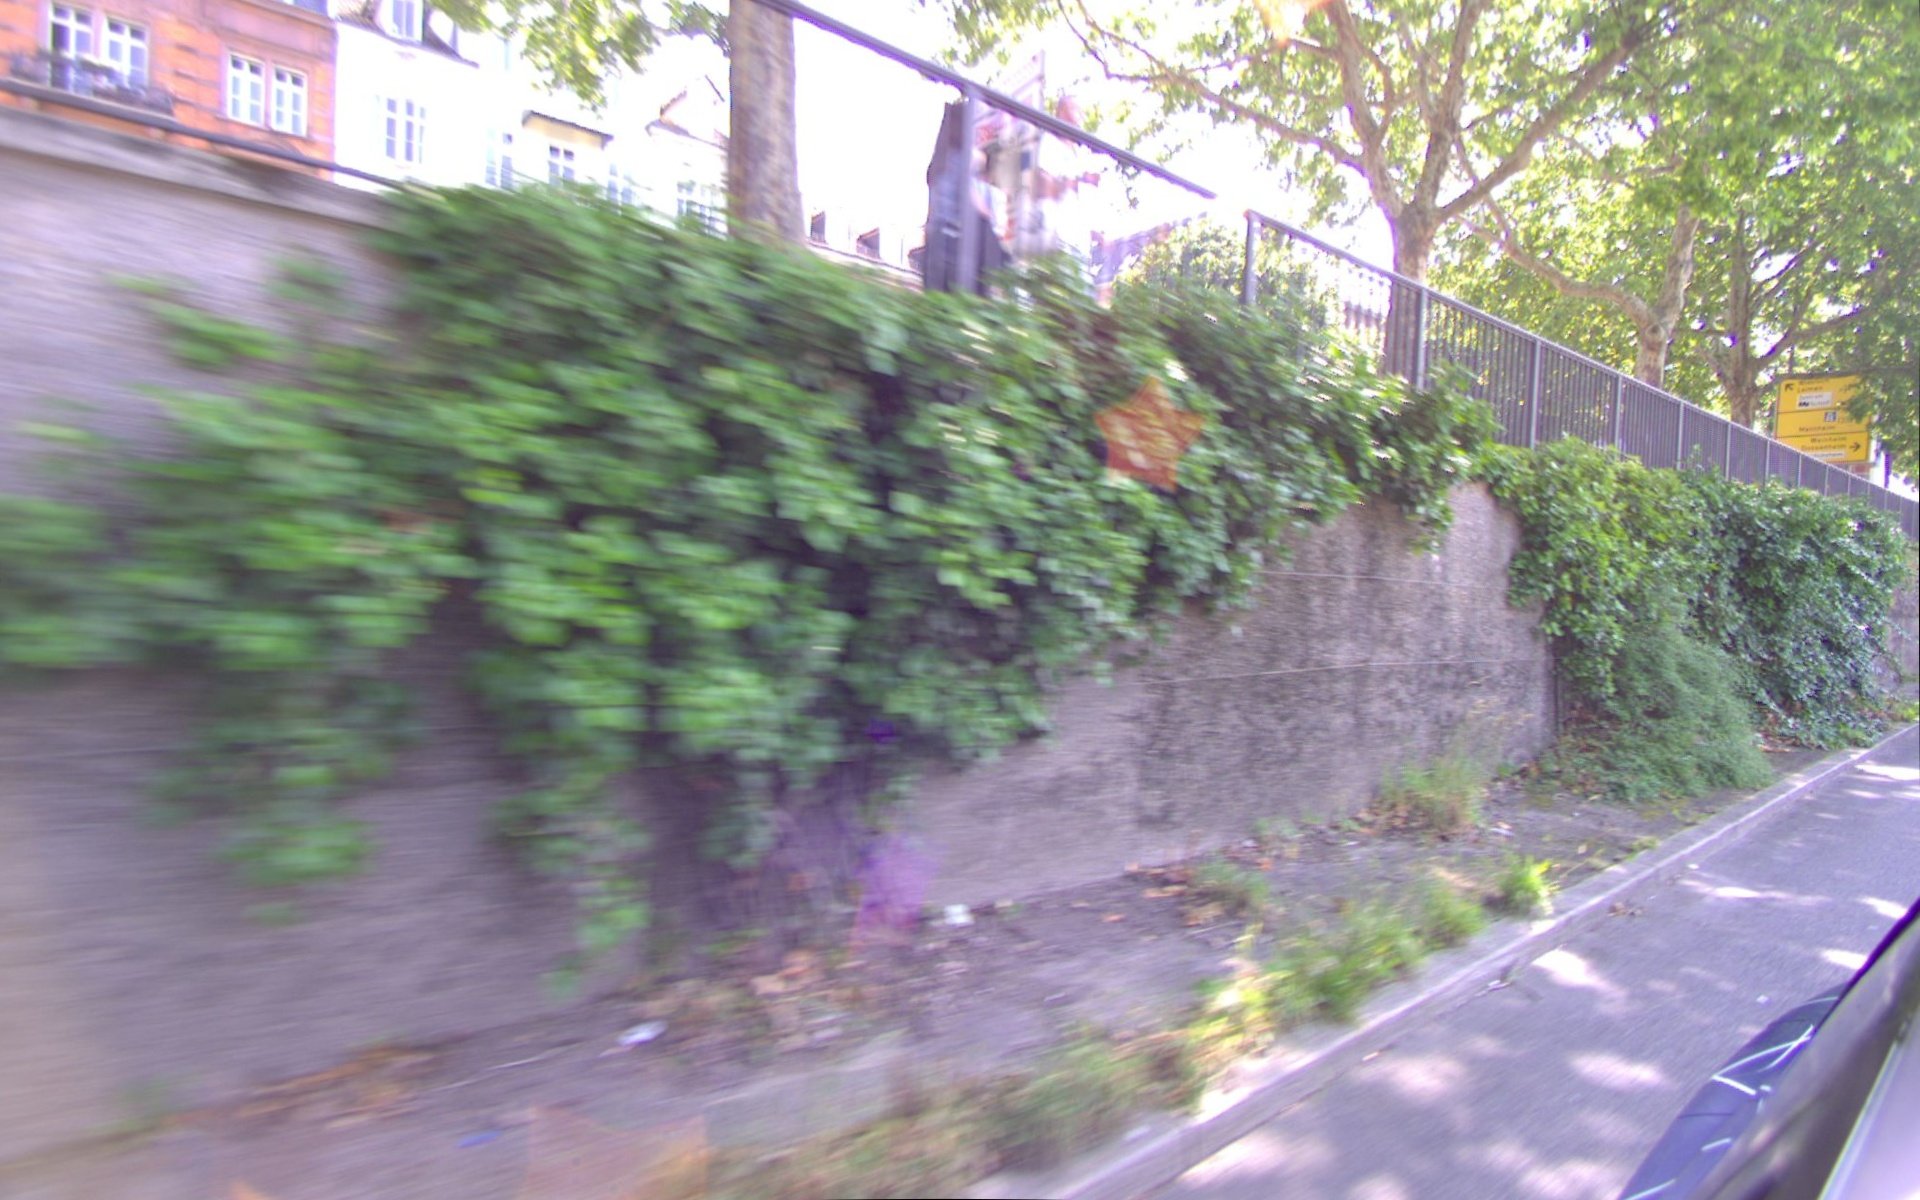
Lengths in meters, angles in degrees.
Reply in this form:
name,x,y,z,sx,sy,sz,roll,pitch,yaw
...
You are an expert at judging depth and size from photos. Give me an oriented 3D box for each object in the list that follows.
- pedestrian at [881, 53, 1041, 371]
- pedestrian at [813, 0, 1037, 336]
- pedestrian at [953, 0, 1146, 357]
name,x,y,z,sx,sy,sz,roll,pitch,yaw
pedestrian,0.000,-2.303,6.205,0.639,1.611,0.666,1,2,-41
pedestrian,-0.180,-2.286,5.166,0.796,1.611,0.738,1,2,-41
pedestrian,0.495,-2.268,5.621,0.751,1.611,0.666,1,2,-41
